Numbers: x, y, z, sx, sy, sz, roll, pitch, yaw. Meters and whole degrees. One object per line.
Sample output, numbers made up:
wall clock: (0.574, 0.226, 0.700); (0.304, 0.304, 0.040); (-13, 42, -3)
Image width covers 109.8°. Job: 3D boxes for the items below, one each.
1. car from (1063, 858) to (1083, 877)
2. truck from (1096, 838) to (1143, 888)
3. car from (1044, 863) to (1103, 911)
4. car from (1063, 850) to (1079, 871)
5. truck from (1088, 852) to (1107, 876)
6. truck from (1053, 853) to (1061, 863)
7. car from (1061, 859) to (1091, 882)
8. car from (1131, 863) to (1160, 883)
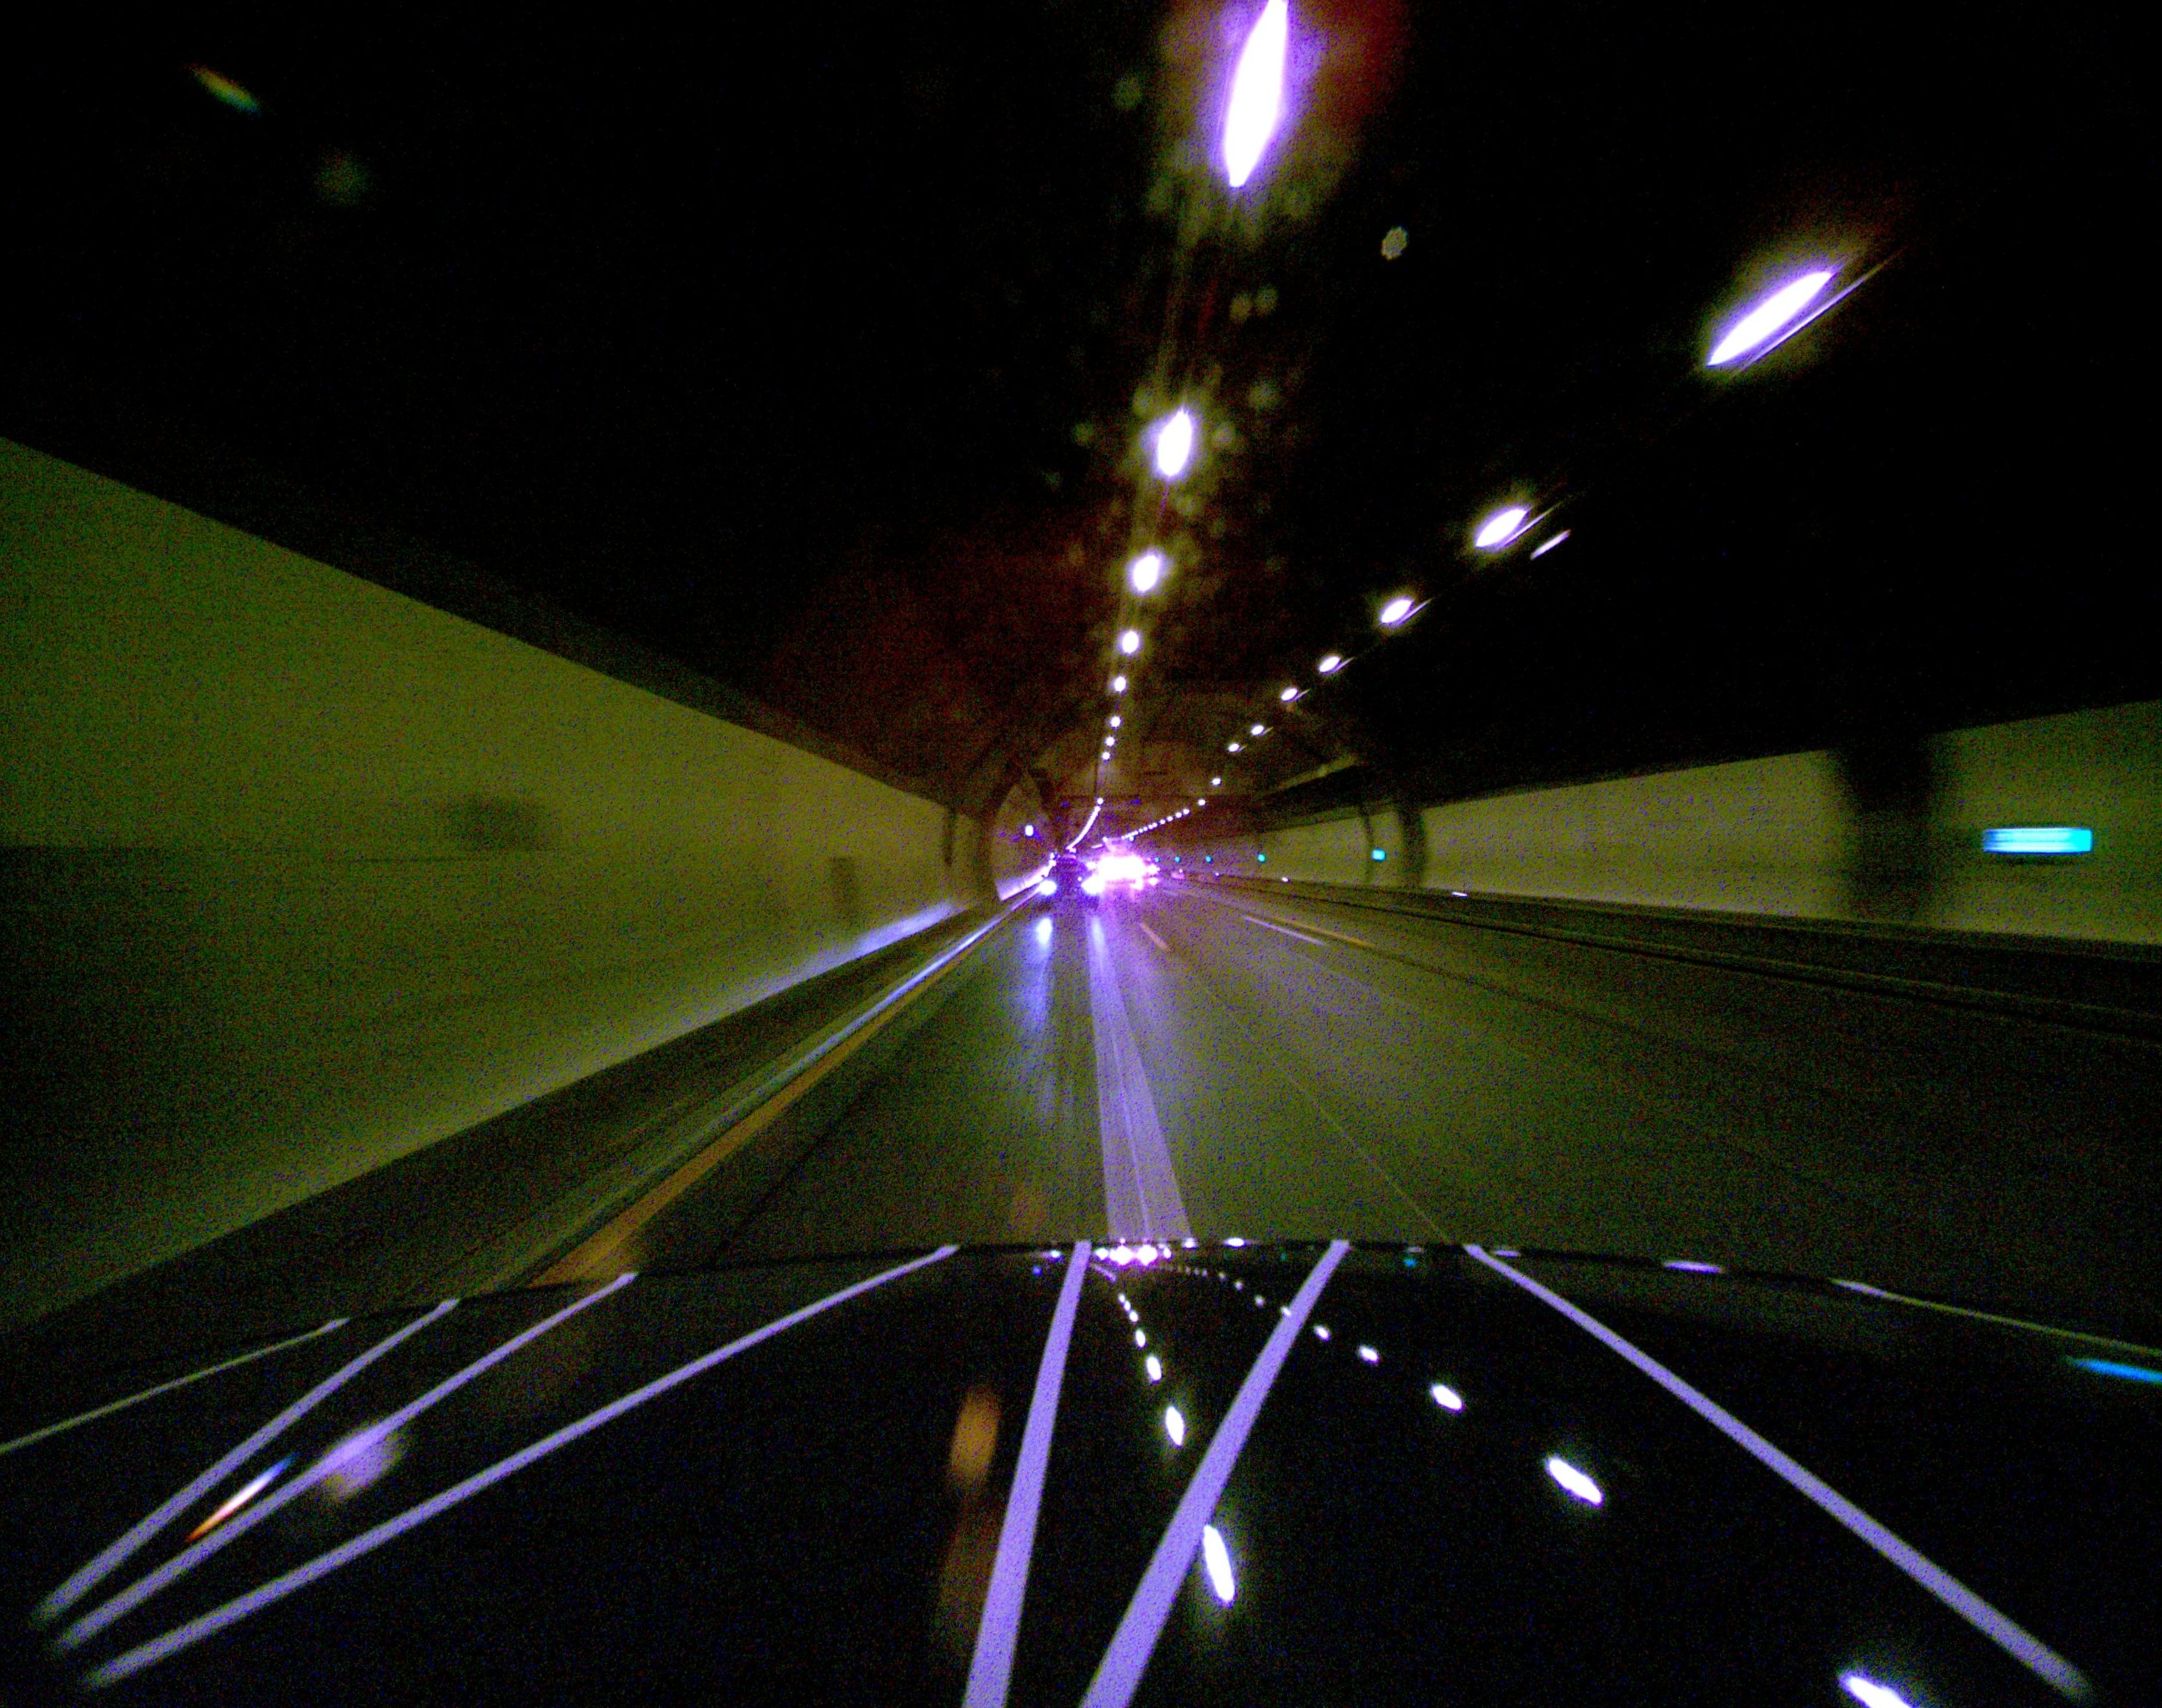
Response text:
car: (-0.932, 1.453, 85.304); (1.999, 2.002, 4.852); (-2, 0, -4)
truck: (2.673, 0.631, 55.140); (2.534, 3.314, 7.714); (-2, 0, -3)
car: (-0.356, 1.070, 26.531); (1.826, 1.469, 4.520); (-2, 0, -3)
car: (-1.465, 0.884, 107.182); (1.999, 2.710, 6.272); (-2, 0, -3)
truck: (2.156, 1.274, 99.862); (2.162, 3.098, 6.030); (-2, 0, 0)
truck: (-8.364, 1.516, 265.613); (2.208, 3.449, 11.766); (-1, 0, 1)
car: (-0.433, 1.228, 57.683); (1.999, 1.531, 4.741); (-2, 0, -3)
car: (5.460, 1.562, 64.834); (1.998, 1.531, 4.851); (-2, 0, 1)
